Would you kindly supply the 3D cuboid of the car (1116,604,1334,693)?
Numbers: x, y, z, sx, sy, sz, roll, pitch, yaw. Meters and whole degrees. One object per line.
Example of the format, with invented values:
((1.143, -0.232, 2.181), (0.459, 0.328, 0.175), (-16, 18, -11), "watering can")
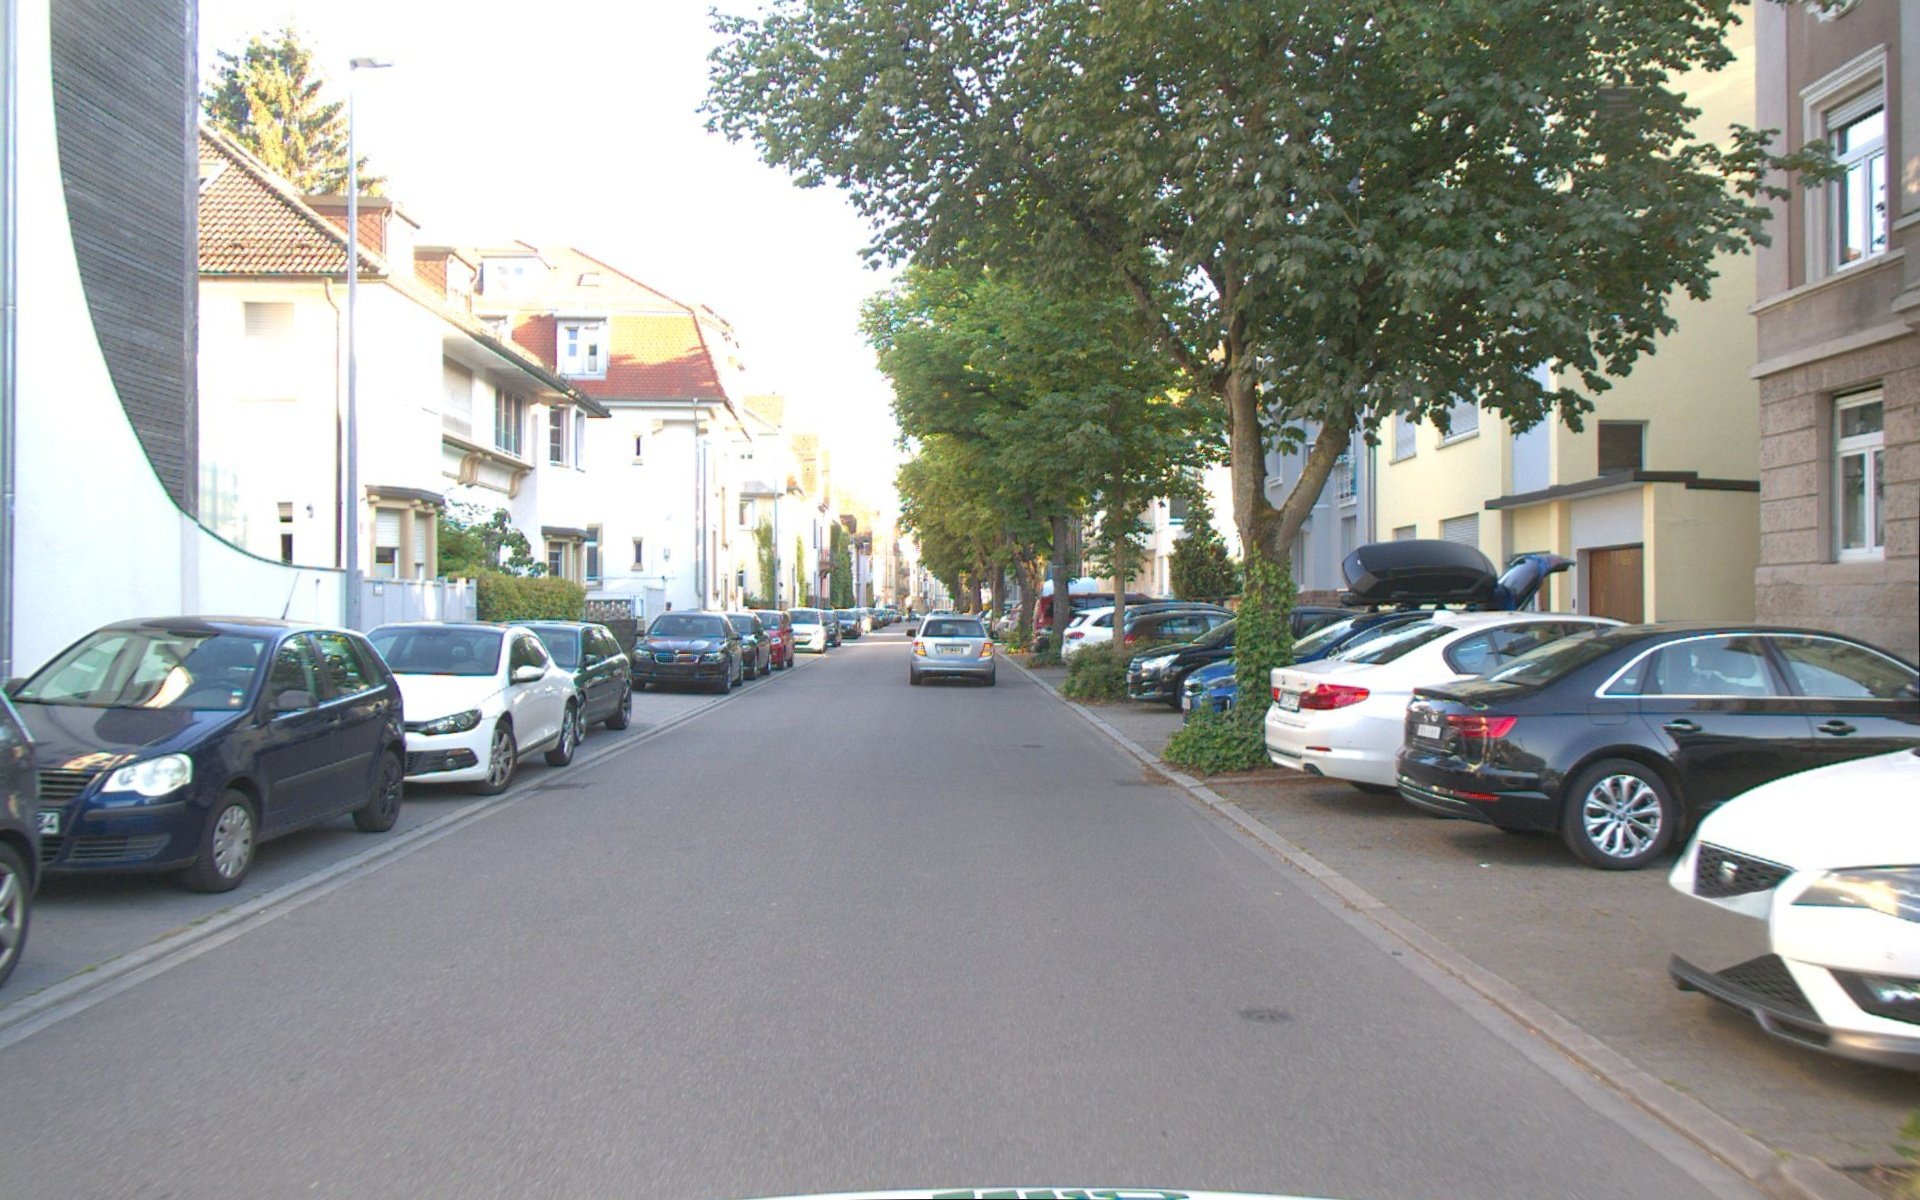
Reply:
((4.946, 0.891, 31.214), (3.844, 1.585, 1.725), (-1, 0, 1), "car")

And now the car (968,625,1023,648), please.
((2.406, 2.483, 113.011), (3.765, 1.508, 1.805), (0, 0, 0), "car")

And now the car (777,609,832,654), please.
((-5.446, 1.120, 58.261), (1.625, 1.526, 3.753), (1, -1, -1), "car")

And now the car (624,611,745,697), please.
((-5.223, 1.009, 31.865), (1.817, 1.524, 4.651), (1, -1, -4), "car")

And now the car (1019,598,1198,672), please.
((3.894, 0.909, 43.910), (4.532, 1.869, 1.953), (1, -1, -1), "car")

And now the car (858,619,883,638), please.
((-6.808, 2.155, 125.614), (1.762, 1.411, 3.605), (1, 0, -1), "car")

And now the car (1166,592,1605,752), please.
((4.671, 0.778, 18.600), (4.435, 1.669, 1.873), (0, -1, -2), "car")

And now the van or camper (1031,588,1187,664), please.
((4.120, 0.717, 46.348), (4.223, 2.049, 2.000), (1, -1, 2), "van or camper")

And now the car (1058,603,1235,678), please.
((4.070, 0.882, 36.396), (3.655, 1.585, 1.724), (0, -1, -2), "car")

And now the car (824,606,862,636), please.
((-6.039, 1.092, 85.650), (1.762, 1.508, 3.856), (1, 0, -1), "car")

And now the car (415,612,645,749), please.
((-5.085, 0.918, 20.104), (1.722, 1.473, 4.141), (1, -1, -1), "car")

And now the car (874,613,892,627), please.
((-7.765, 2.009, 167.117), (1.762, 1.411, 3.605), (1, 0, -1), "car")

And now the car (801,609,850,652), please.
((-5.503, 1.224, 67.964), (1.762, 1.673, 3.856), (1, 0, -1), "car")

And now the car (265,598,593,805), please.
((-4.622, 0.827, 15.050), (1.847, 1.619, 4.087), (0, -1, -3), "car")

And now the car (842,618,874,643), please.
((-6.296, 1.877, 102.130), (1.762, 1.508, 3.856), (1, 0, -1), "car")

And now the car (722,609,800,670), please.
((-5.174, 1.030, 43.398), (1.625, 1.514, 3.753), (1, -1, -1), "car")

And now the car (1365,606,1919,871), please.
((4.826, 0.803, 10.497), (4.059, 1.473, 1.672), (-1, -1, -2), "car")

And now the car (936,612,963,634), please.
((-0.705, 1.627, 115.481), (1.779, 1.499, 4.217), (0, -2, 2), "car")

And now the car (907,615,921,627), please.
((-5.915, 2.702, 214.117), (1.762, 1.411, 3.605), (1, 0, -1), "car")

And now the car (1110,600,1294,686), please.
((4.928, 0.876, 33.930), (3.476, 1.683, 1.724), (0, -1, -2), "car")

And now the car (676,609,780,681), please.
((-5.244, 1.017, 37.970), (1.747, 1.524, 4.698), (1, -1, -1), "car")

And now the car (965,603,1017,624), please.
((2.211, 0.991, 119.313), (3.765, 1.508, 1.805), (0, 0, 0), "car")

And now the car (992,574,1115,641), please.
((4.255, 0.326, 76.090), (5.432, 3.020, 2.470), (0, 0, -4), "car")

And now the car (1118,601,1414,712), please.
((4.554, 0.830, 25.034), (4.106, 1.585, 1.873), (0, -1, -2), "car")

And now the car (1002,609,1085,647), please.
((3.684, 1.226, 73.111), (3.523, 1.689, 1.649), (0, 0, -3), "car")

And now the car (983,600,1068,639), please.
((3.505, 1.035, 89.085), (4.428, 2.049, 2.250), (0, 0, -3), "car")

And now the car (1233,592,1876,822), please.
((4.578, 0.763, 13.115), (4.391, 1.552, 1.951), (-1, 0, -7), "car")

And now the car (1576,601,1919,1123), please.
((4.529, 0.768, 5.885), (3.967, 1.532, 1.861), (0, -1, -2), "car")

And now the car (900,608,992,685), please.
((-0.230, 0.968, 34.573), (1.779, 1.499, 4.217), (0, -2, 2), "car")

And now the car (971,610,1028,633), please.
((2.640, 1.424, 110.959), (3.765, 1.508, 1.805), (0, 0, 0), "car")

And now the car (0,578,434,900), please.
((-4.784, 0.729, 10.375), (1.847, 1.619, 4.087), (0, -1, -3), "car")

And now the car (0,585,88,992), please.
((-4.661, 0.725, 5.189), (1.847, 1.619, 4.087), (0, -1, -3), "car")
